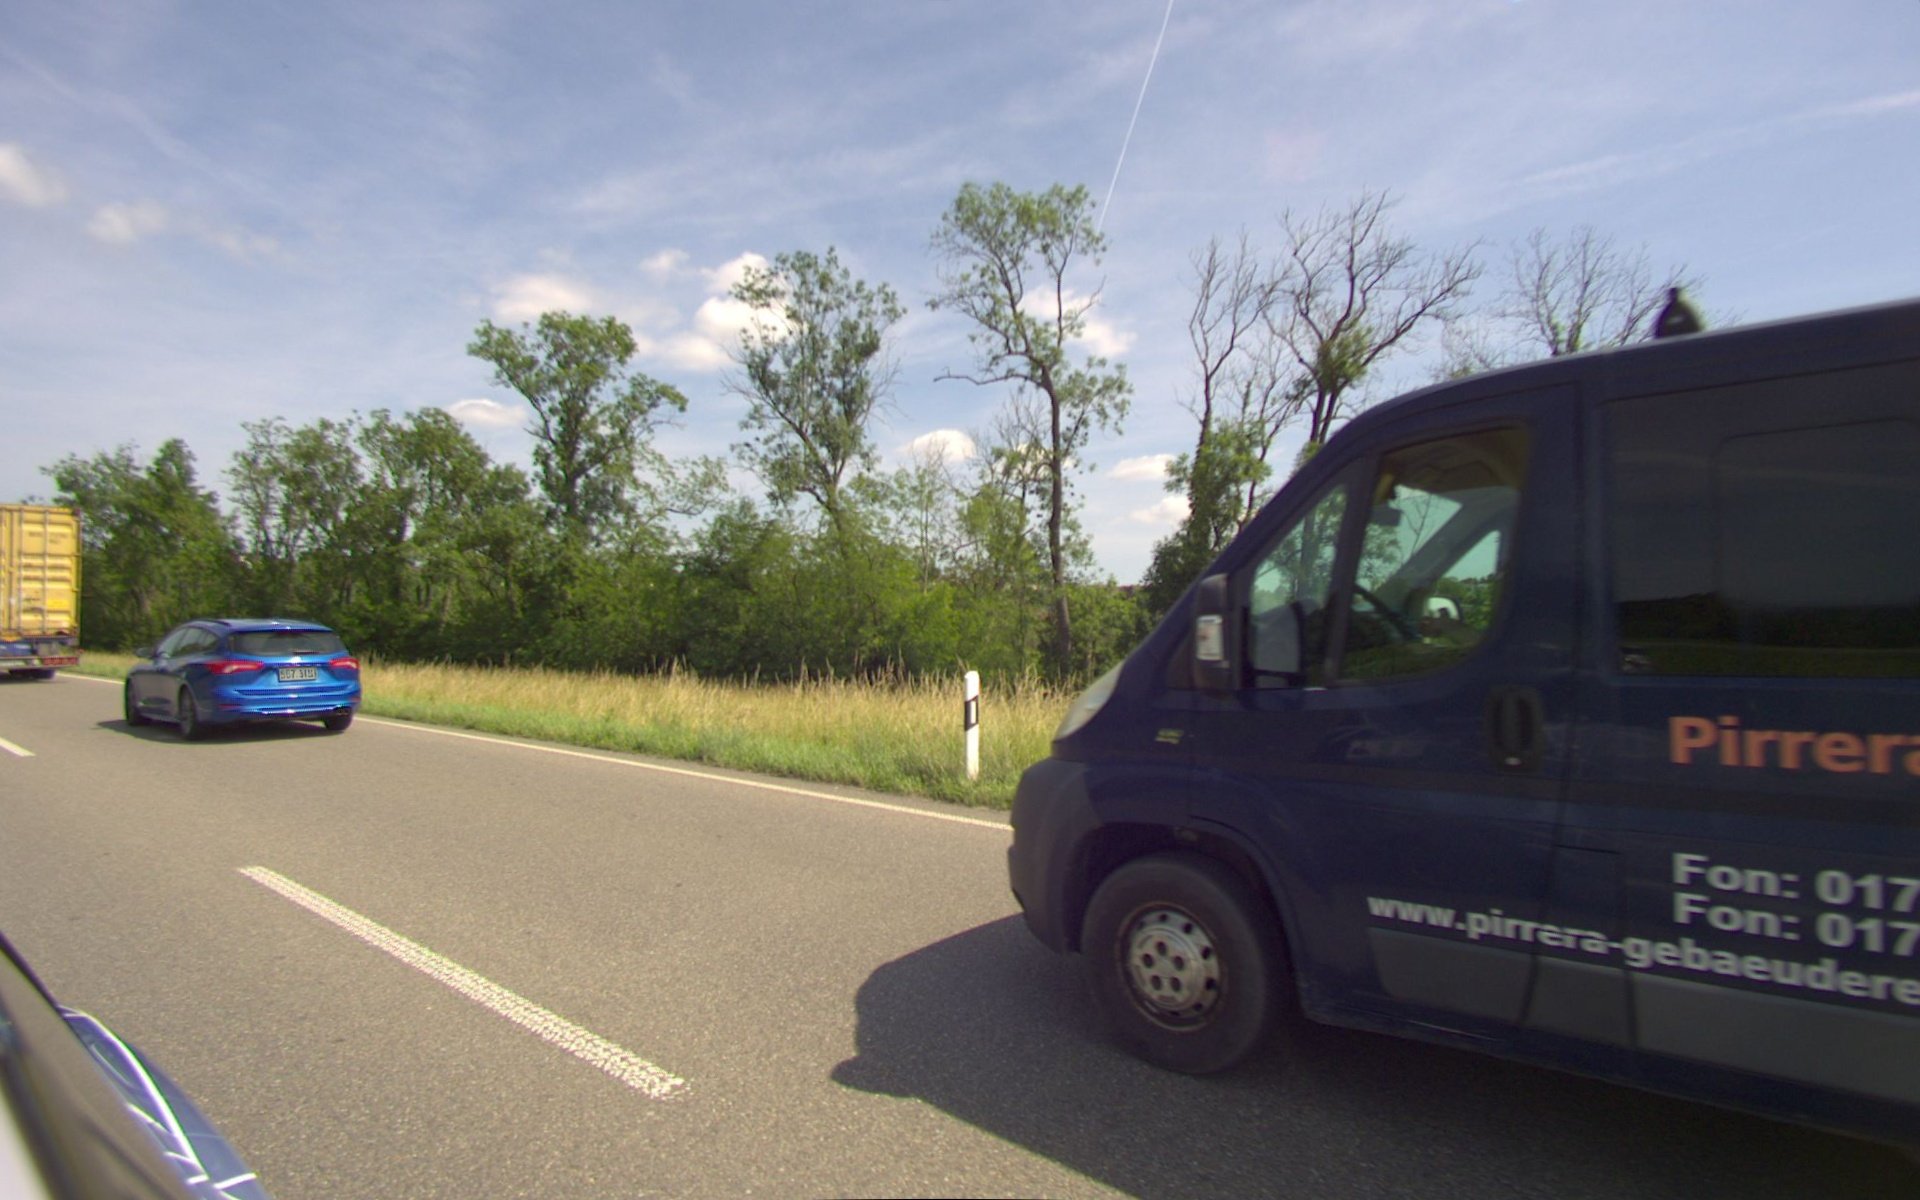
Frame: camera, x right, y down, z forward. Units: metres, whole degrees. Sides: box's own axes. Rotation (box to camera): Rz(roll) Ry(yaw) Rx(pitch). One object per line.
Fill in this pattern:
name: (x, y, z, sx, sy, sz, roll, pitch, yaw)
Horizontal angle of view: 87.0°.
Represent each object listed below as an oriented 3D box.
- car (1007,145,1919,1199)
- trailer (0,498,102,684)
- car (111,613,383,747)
car: (2.698, 0.270, 2.746, 4.905, 2.321, 2.148, -1, -2, 41)
trailer: (-26.025, -0.103, 26.280, 12.895, 4.074, 2.969, -1, -2, 37)
car: (-9.564, 0.951, 13.447, 4.354, 1.497, 1.844, -1, -2, 39)
